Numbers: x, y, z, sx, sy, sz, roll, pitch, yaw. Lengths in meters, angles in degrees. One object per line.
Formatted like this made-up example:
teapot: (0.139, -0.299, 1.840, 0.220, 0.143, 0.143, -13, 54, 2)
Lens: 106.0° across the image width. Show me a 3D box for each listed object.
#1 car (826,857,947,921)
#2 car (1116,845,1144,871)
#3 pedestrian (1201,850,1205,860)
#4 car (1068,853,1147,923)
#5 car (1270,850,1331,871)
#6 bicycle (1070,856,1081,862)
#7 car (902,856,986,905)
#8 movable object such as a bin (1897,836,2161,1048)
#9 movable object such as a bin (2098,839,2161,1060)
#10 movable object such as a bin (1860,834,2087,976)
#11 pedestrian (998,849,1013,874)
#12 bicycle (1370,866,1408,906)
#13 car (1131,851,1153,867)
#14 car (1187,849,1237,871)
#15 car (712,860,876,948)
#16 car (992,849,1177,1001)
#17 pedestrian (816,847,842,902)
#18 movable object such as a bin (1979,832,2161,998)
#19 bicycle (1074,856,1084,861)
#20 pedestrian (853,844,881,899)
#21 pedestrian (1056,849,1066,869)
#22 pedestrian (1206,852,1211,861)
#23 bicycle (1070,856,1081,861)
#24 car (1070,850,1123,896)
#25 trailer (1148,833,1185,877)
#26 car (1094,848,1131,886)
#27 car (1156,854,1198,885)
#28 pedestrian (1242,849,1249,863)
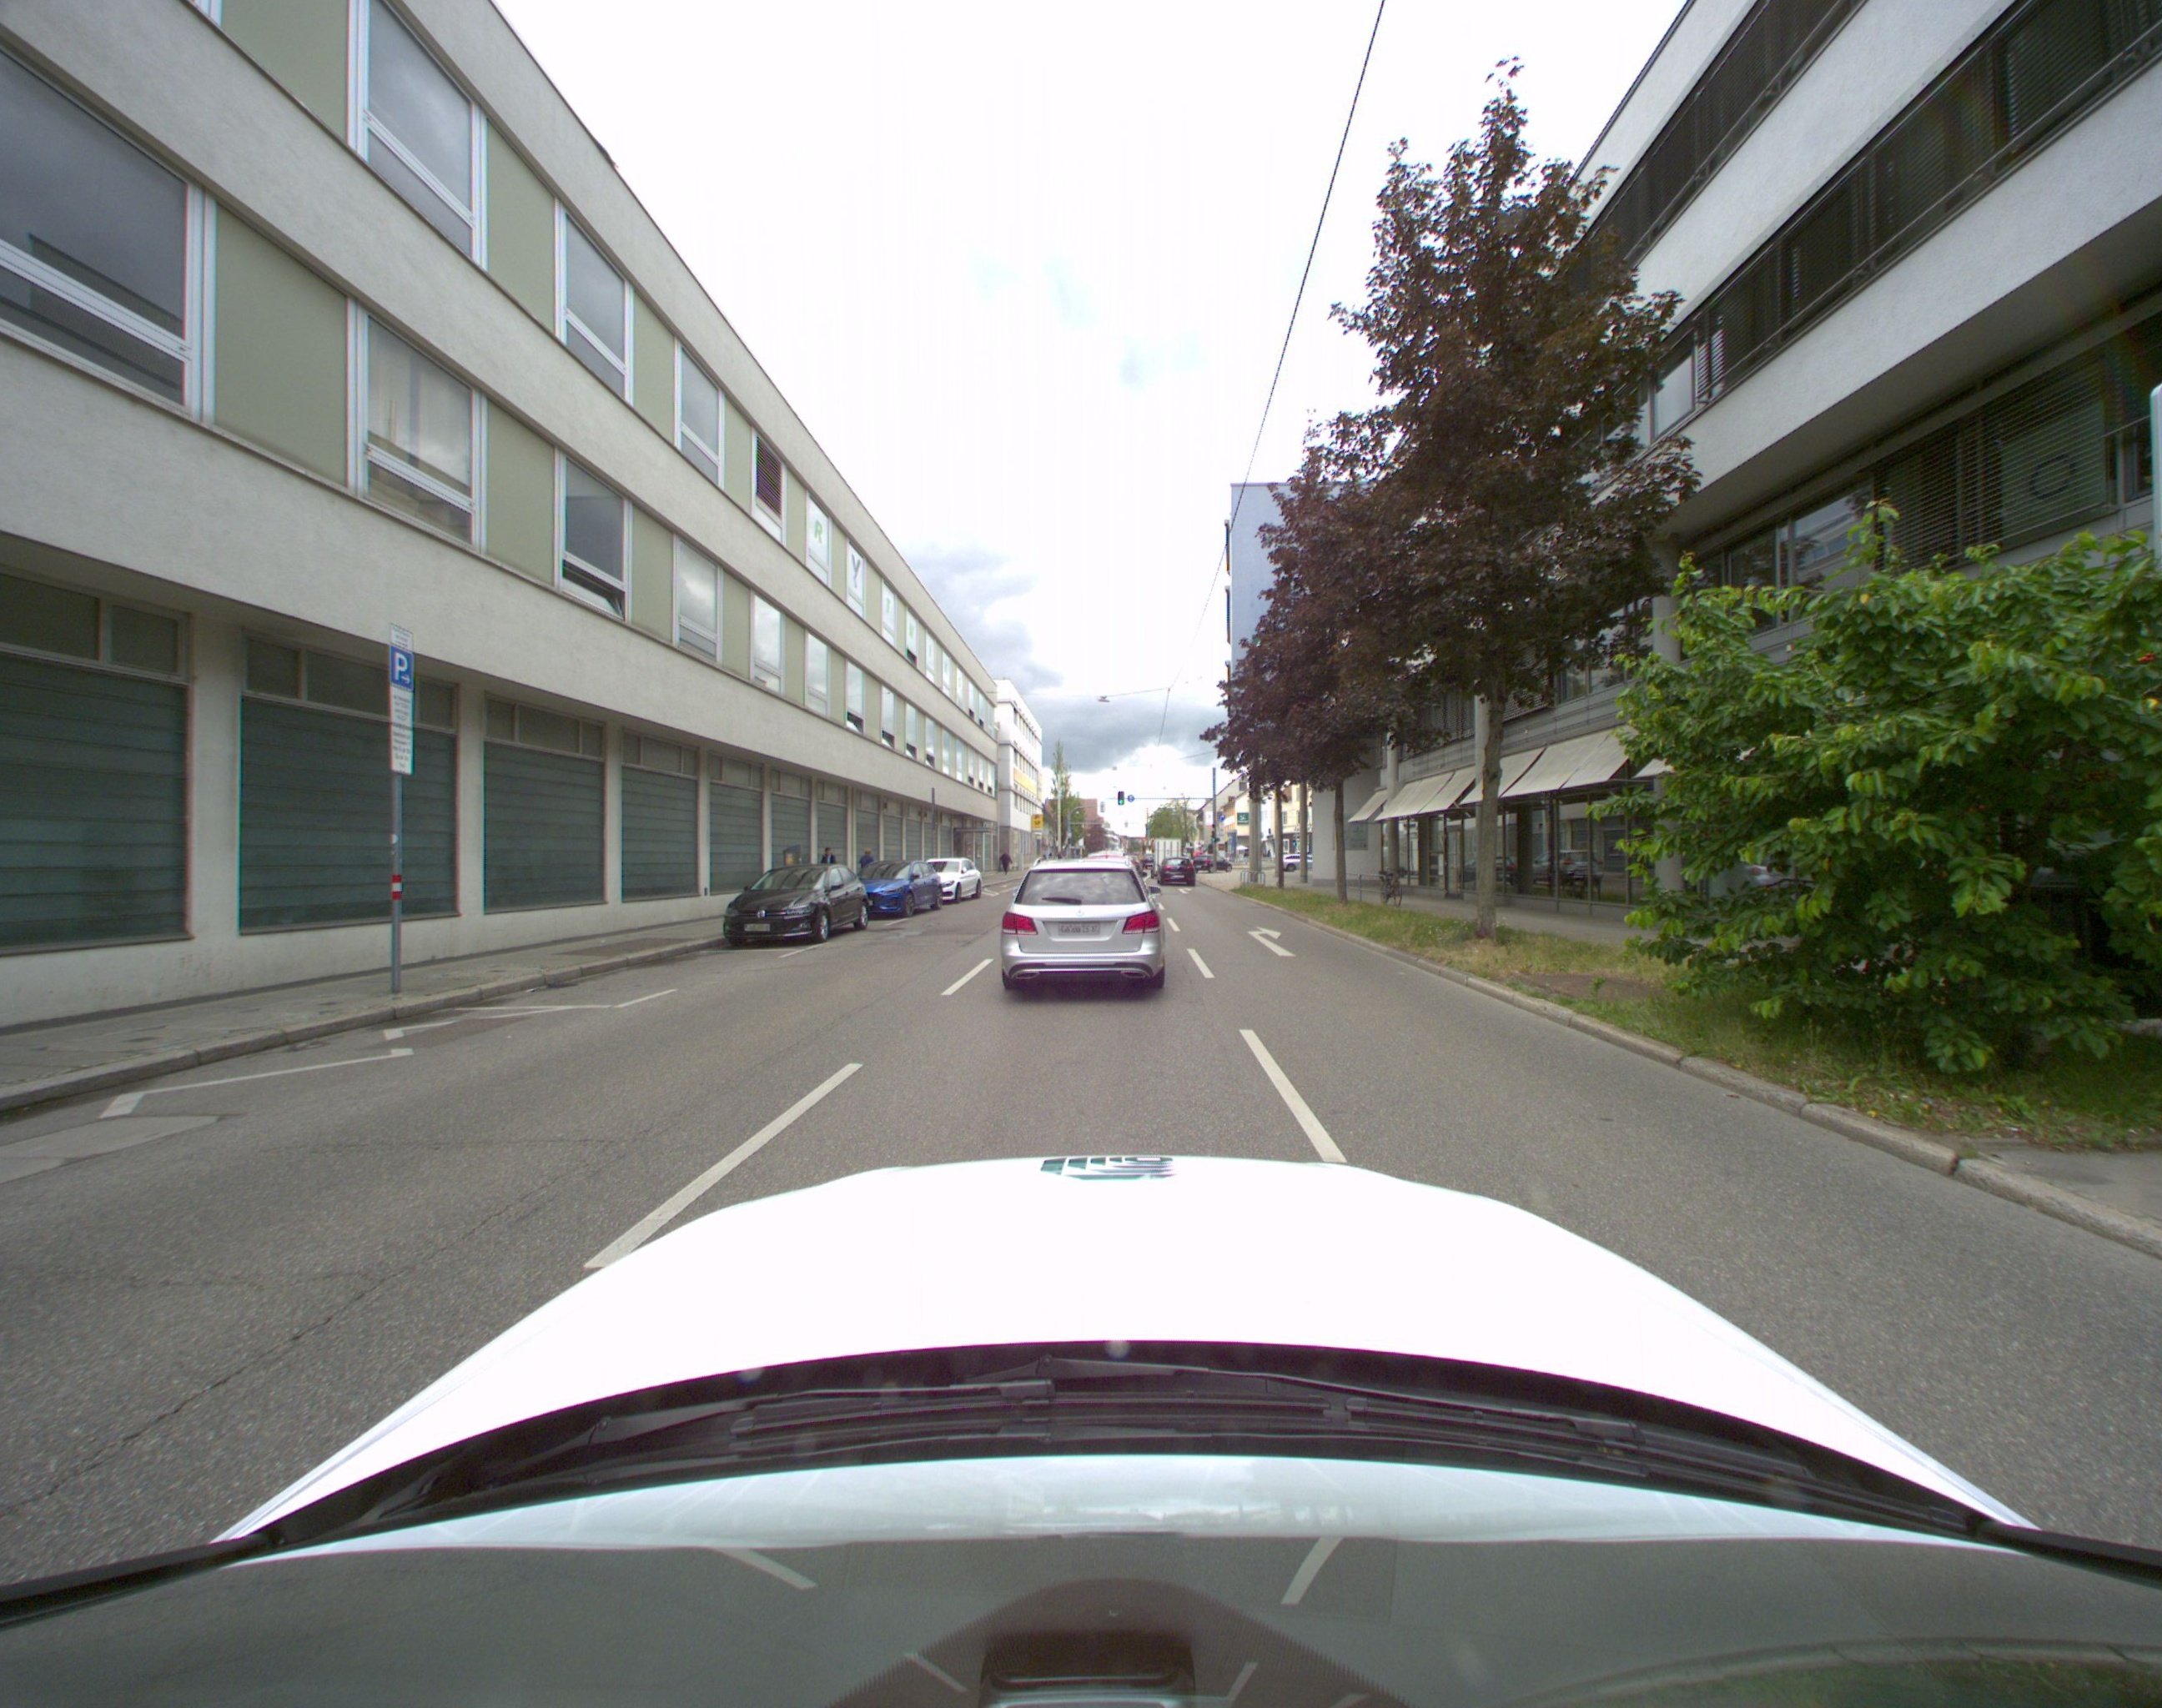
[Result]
car: (-5.019, 0.856, 21.640, 1.806, 1.426, 4.270, -2, 0, 5)
car: (3.460, 0.280, 57.740, 1.821, 1.785, 4.002, -1, 0, 2)
pedestrian: (19.767, 0.167, 131.983, 0.577, 1.666, 0.649, 1, 0, -8)
car: (0.734, 0.746, 19.912, 1.726, 1.508, 4.005, -1, 0, 4)
car: (18.148, 0.531, 67.379, 4.538, 1.605, 1.737, 2, 0, -5)
bicycle: (-0.956, 0.850, 148.909, 1.935, 1.029, 0.529, 1, 0, -7)
car: (-4.526, 0.821, 27.635, 1.662, 1.434, 4.559, -2, 0, 5)
movable object such as a bin: (7.738, 0.613, 6.439, 1.123, 1.465, 1.413, -2, 0, 1)
movable object such as a bin: (7.722, 0.626, 5.066, 1.094, 1.465, 1.333, -2, 0, 1)
movable object such as a bin: (10.098, 0.542, 9.296, 1.094, 1.465, 1.333, -2, 0, 1)
pedestrian: (-5.154, 0.513, 55.429, 0.858, 1.718, 1.032, 1, 0, 1)
bicycle: (8.772, 0.890, 23.285, 0.359, 1.086, 2.028, 1, 0, 1)
car: (5.550, 0.424, 74.449, 1.728, 1.410, 4.001, -1, 0, 1)
car: (10.337, 0.443, 64.234, 3.819, 1.670, 1.906, -1, 0, -42)
car: (-5.431, 0.878, 15.969, 1.710, 1.425, 3.871, -2, 0, 1)
car: (0.087, 0.715, 10.284, 1.839, 1.508, 4.172, -1, 0, 1)
pedestrian: (-8.023, 0.655, 25.962, 0.587, 1.718, 0.650, -1, 0, 1)
movable object such as a bin: (10.066, 0.535, 7.935, 1.118, 1.465, 1.333, -2, 0, 1)
bicycle: (-0.413, 0.860, 152.875, 1.935, 1.029, 0.529, 1, 0, -7)
pedestrian: (-6.835, 0.555, 26.075, 0.587, 1.718, 1.055, -1, 0, 1)
pedestrian: (-1.713, 0.402, 69.547, 0.643, 1.718, 0.785, 1, 0, 10)
pedestrian: (20.180, 0.443, 128.831, 0.576, 1.469, 0.651, 1, 0, 1)
bicycle: (-1.053, 0.850, 149.575, 1.935, 1.029, 0.529, 1, 0, -7)
car: (0.561, 0.639, 29.029, 1.728, 1.508, 4.001, -1, 0, 1)
trailer: (5.361, 0.071, 51.471, 1.871, 2.613, 4.324, 2, 0, 1)
car: (1.511, 0.596, 40.118, 1.728, 1.759, 4.001, -1, 0, 1)
car: (4.751, 0.734, 40.688, 1.728, 1.410, 4.001, -1, 0, 1)
pedestrian: (20.153, 0.212, 99.722, 0.641, 1.718, 0.709, -1, 0, 44)
